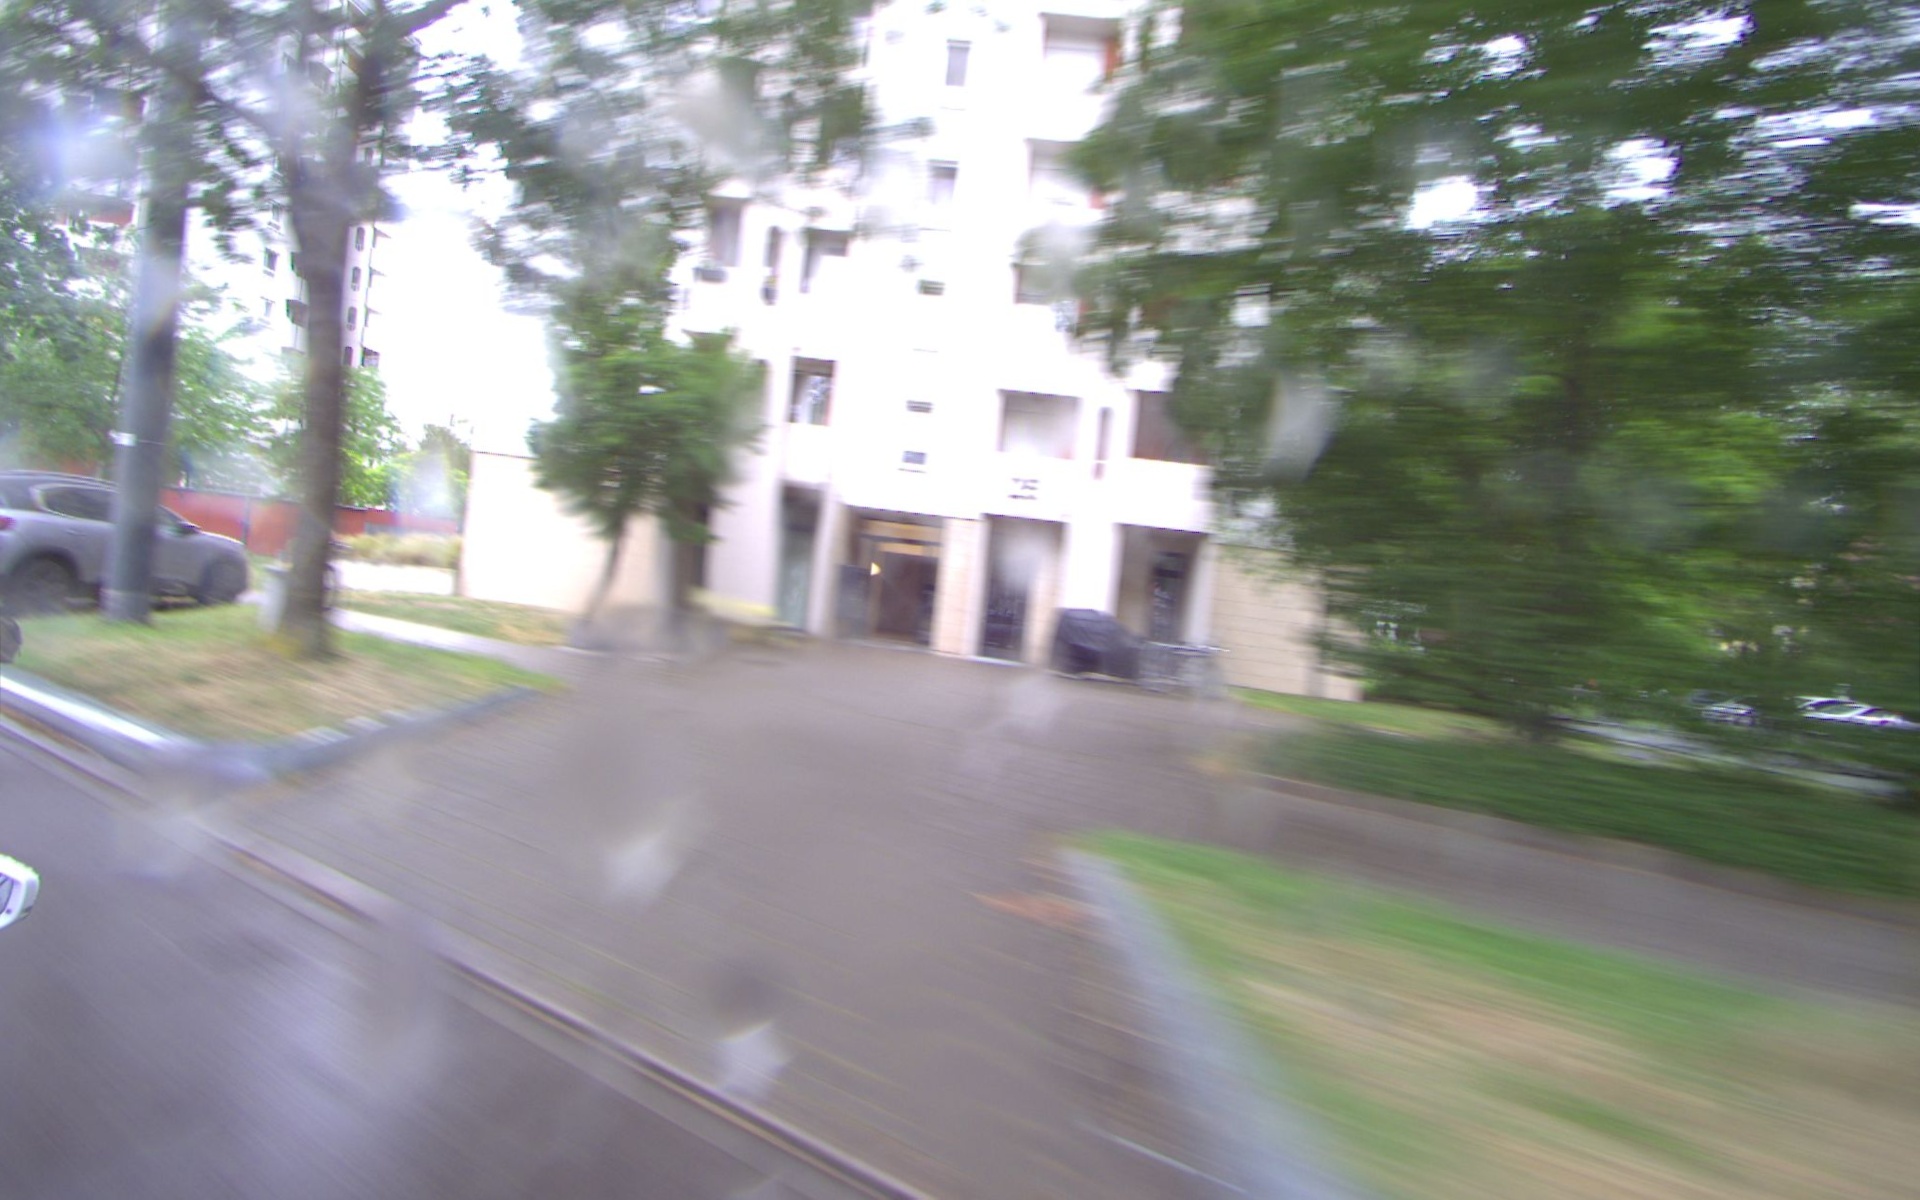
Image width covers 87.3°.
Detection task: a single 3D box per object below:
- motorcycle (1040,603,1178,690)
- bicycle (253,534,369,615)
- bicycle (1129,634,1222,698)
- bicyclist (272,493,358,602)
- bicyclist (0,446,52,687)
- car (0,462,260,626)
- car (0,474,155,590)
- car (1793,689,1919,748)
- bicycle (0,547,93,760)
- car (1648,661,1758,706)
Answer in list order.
[{"bbox_3d":[2.730,0.846,18.606,2.261,1.305,0.884,6,1,-5],"label":"motorcycle"},{"bbox_3d":[-10.376,-0.416,16.055,2.017,1.070,0.735,7,2,33],"label":"bicycle"},{"bbox_3d":[3.733,1.140,17.471,1.439,0.937,0.408,6,2,-5],"label":"bicycle"},{"bbox_3d":[-10.237,-0.828,15.974,0.929,1.614,0.735,7,2,32],"label":"bicyclist"},{"bbox_3d":[-6.323,-0.256,6.136,1.042,1.451,0.810,7,2,29],"label":"bicyclist"},{"bbox_3d":[-11.335,-0.771,12.695,1.963,1.743,4.143,6,3,1],"label":"car"},{"bbox_3d":[-14.305,-1.062,14.900,1.701,1.588,3.880,6,2,-3],"label":"car"},{"bbox_3d":[35.801,4.703,39.755,3.924,1.742,1.724,7,-1,12],"label":"car"},{"bbox_3d":[-6.344,0.207,6.129,2.475,1.111,0.810,7,1,30],"label":"bicycle"},{"bbox_3d":[39.148,4.392,53.086,4.170,1.699,1.885,7,0,5],"label":"car"}]
